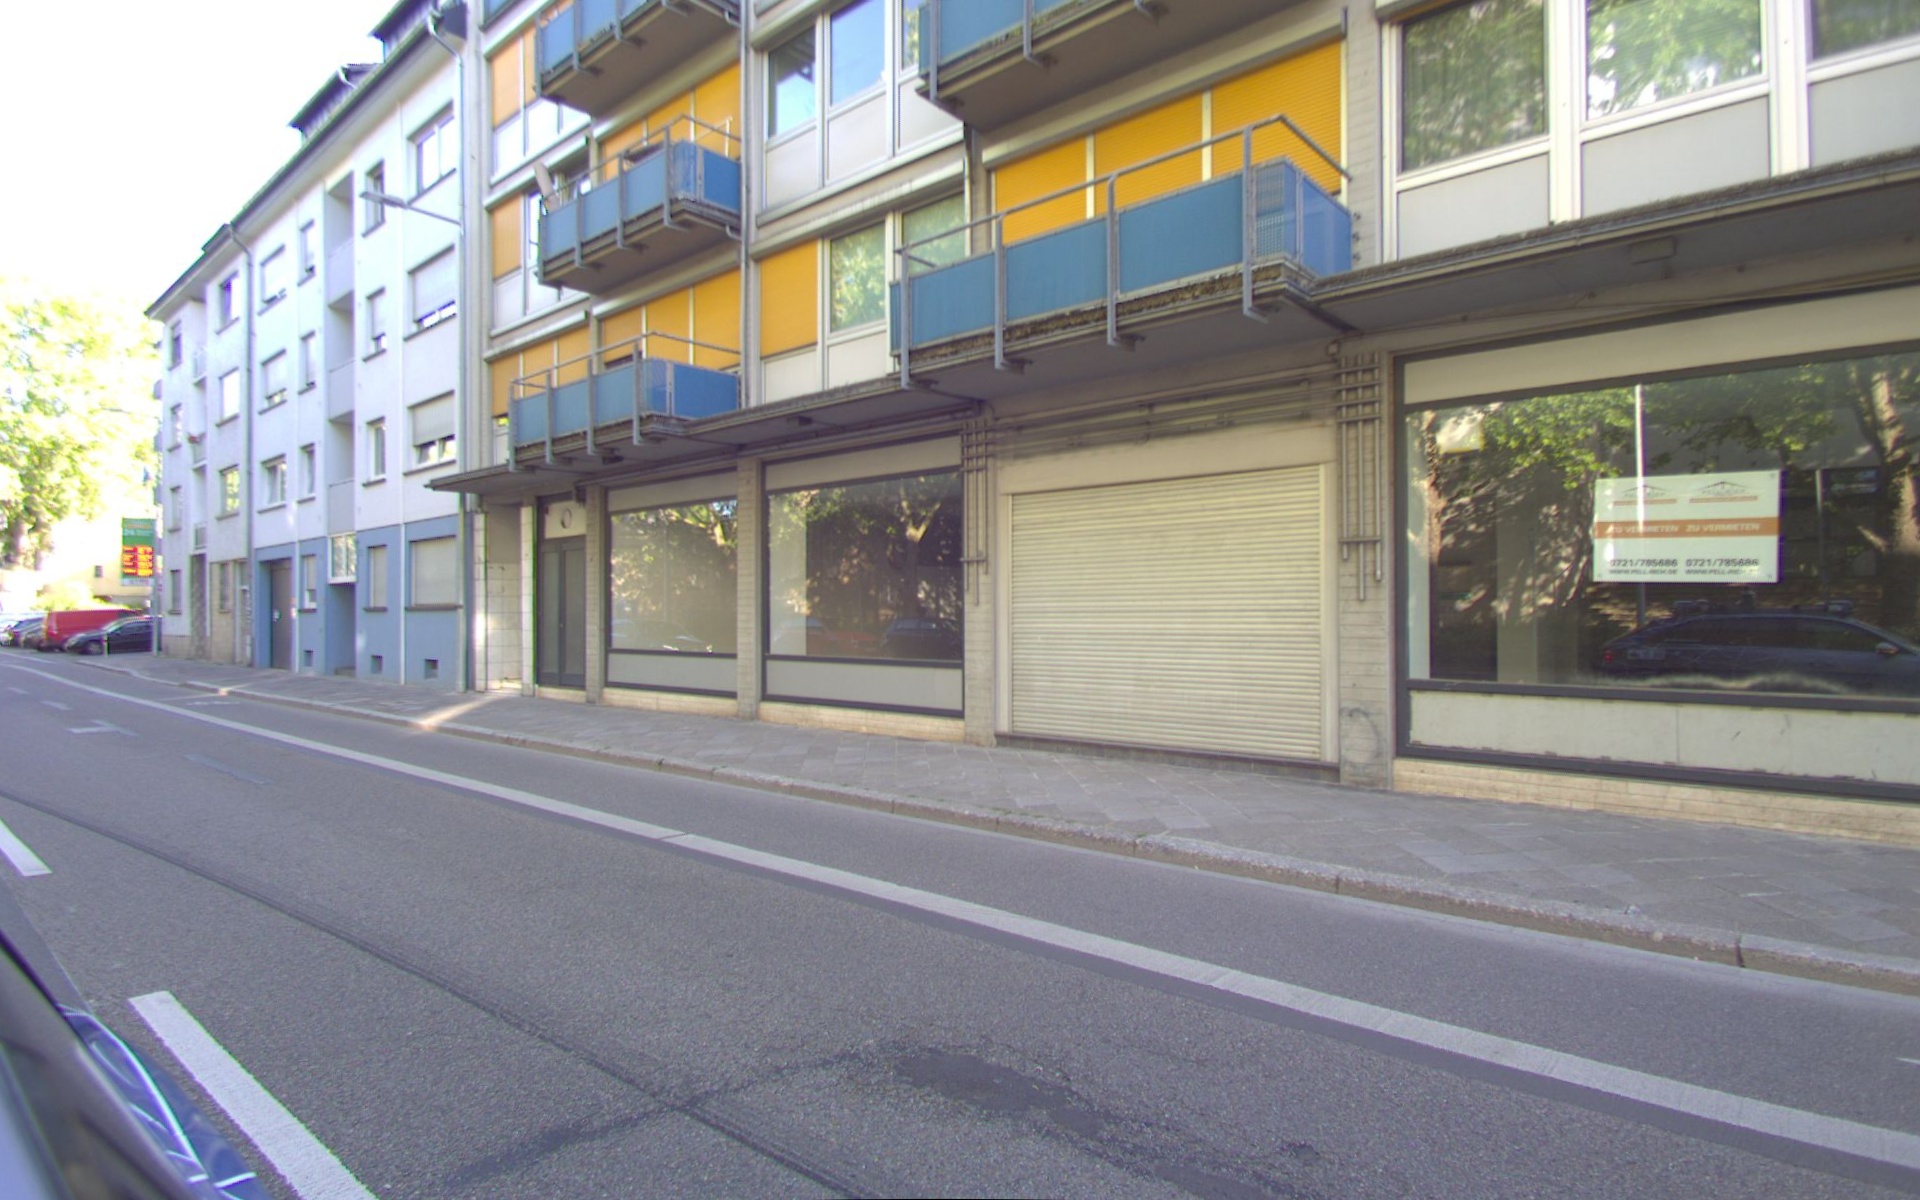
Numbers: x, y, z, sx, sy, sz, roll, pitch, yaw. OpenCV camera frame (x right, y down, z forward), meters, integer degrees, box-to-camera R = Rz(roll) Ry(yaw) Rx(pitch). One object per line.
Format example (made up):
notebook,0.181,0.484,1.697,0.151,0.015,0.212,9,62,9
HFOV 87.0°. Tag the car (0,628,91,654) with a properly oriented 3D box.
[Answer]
car,-50.450,2.233,55.871,1.345,1.254,3.638,-1,0,43

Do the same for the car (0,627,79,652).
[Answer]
car,-52.264,2.241,57.500,1.345,1.254,3.228,-1,0,43

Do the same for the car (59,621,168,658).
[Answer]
car,-38.196,1.761,45.720,1.490,1.523,3.638,-1,0,43

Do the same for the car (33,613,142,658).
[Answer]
car,-40.655,1.640,47.219,1.488,1.923,3.642,-4,-2,39

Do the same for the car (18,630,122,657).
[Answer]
car,-42.818,2.066,48.734,1.345,1.137,3.638,-1,0,43

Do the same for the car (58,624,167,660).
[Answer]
car,-36.680,1.803,43.840,1.490,1.398,3.462,-1,0,43
